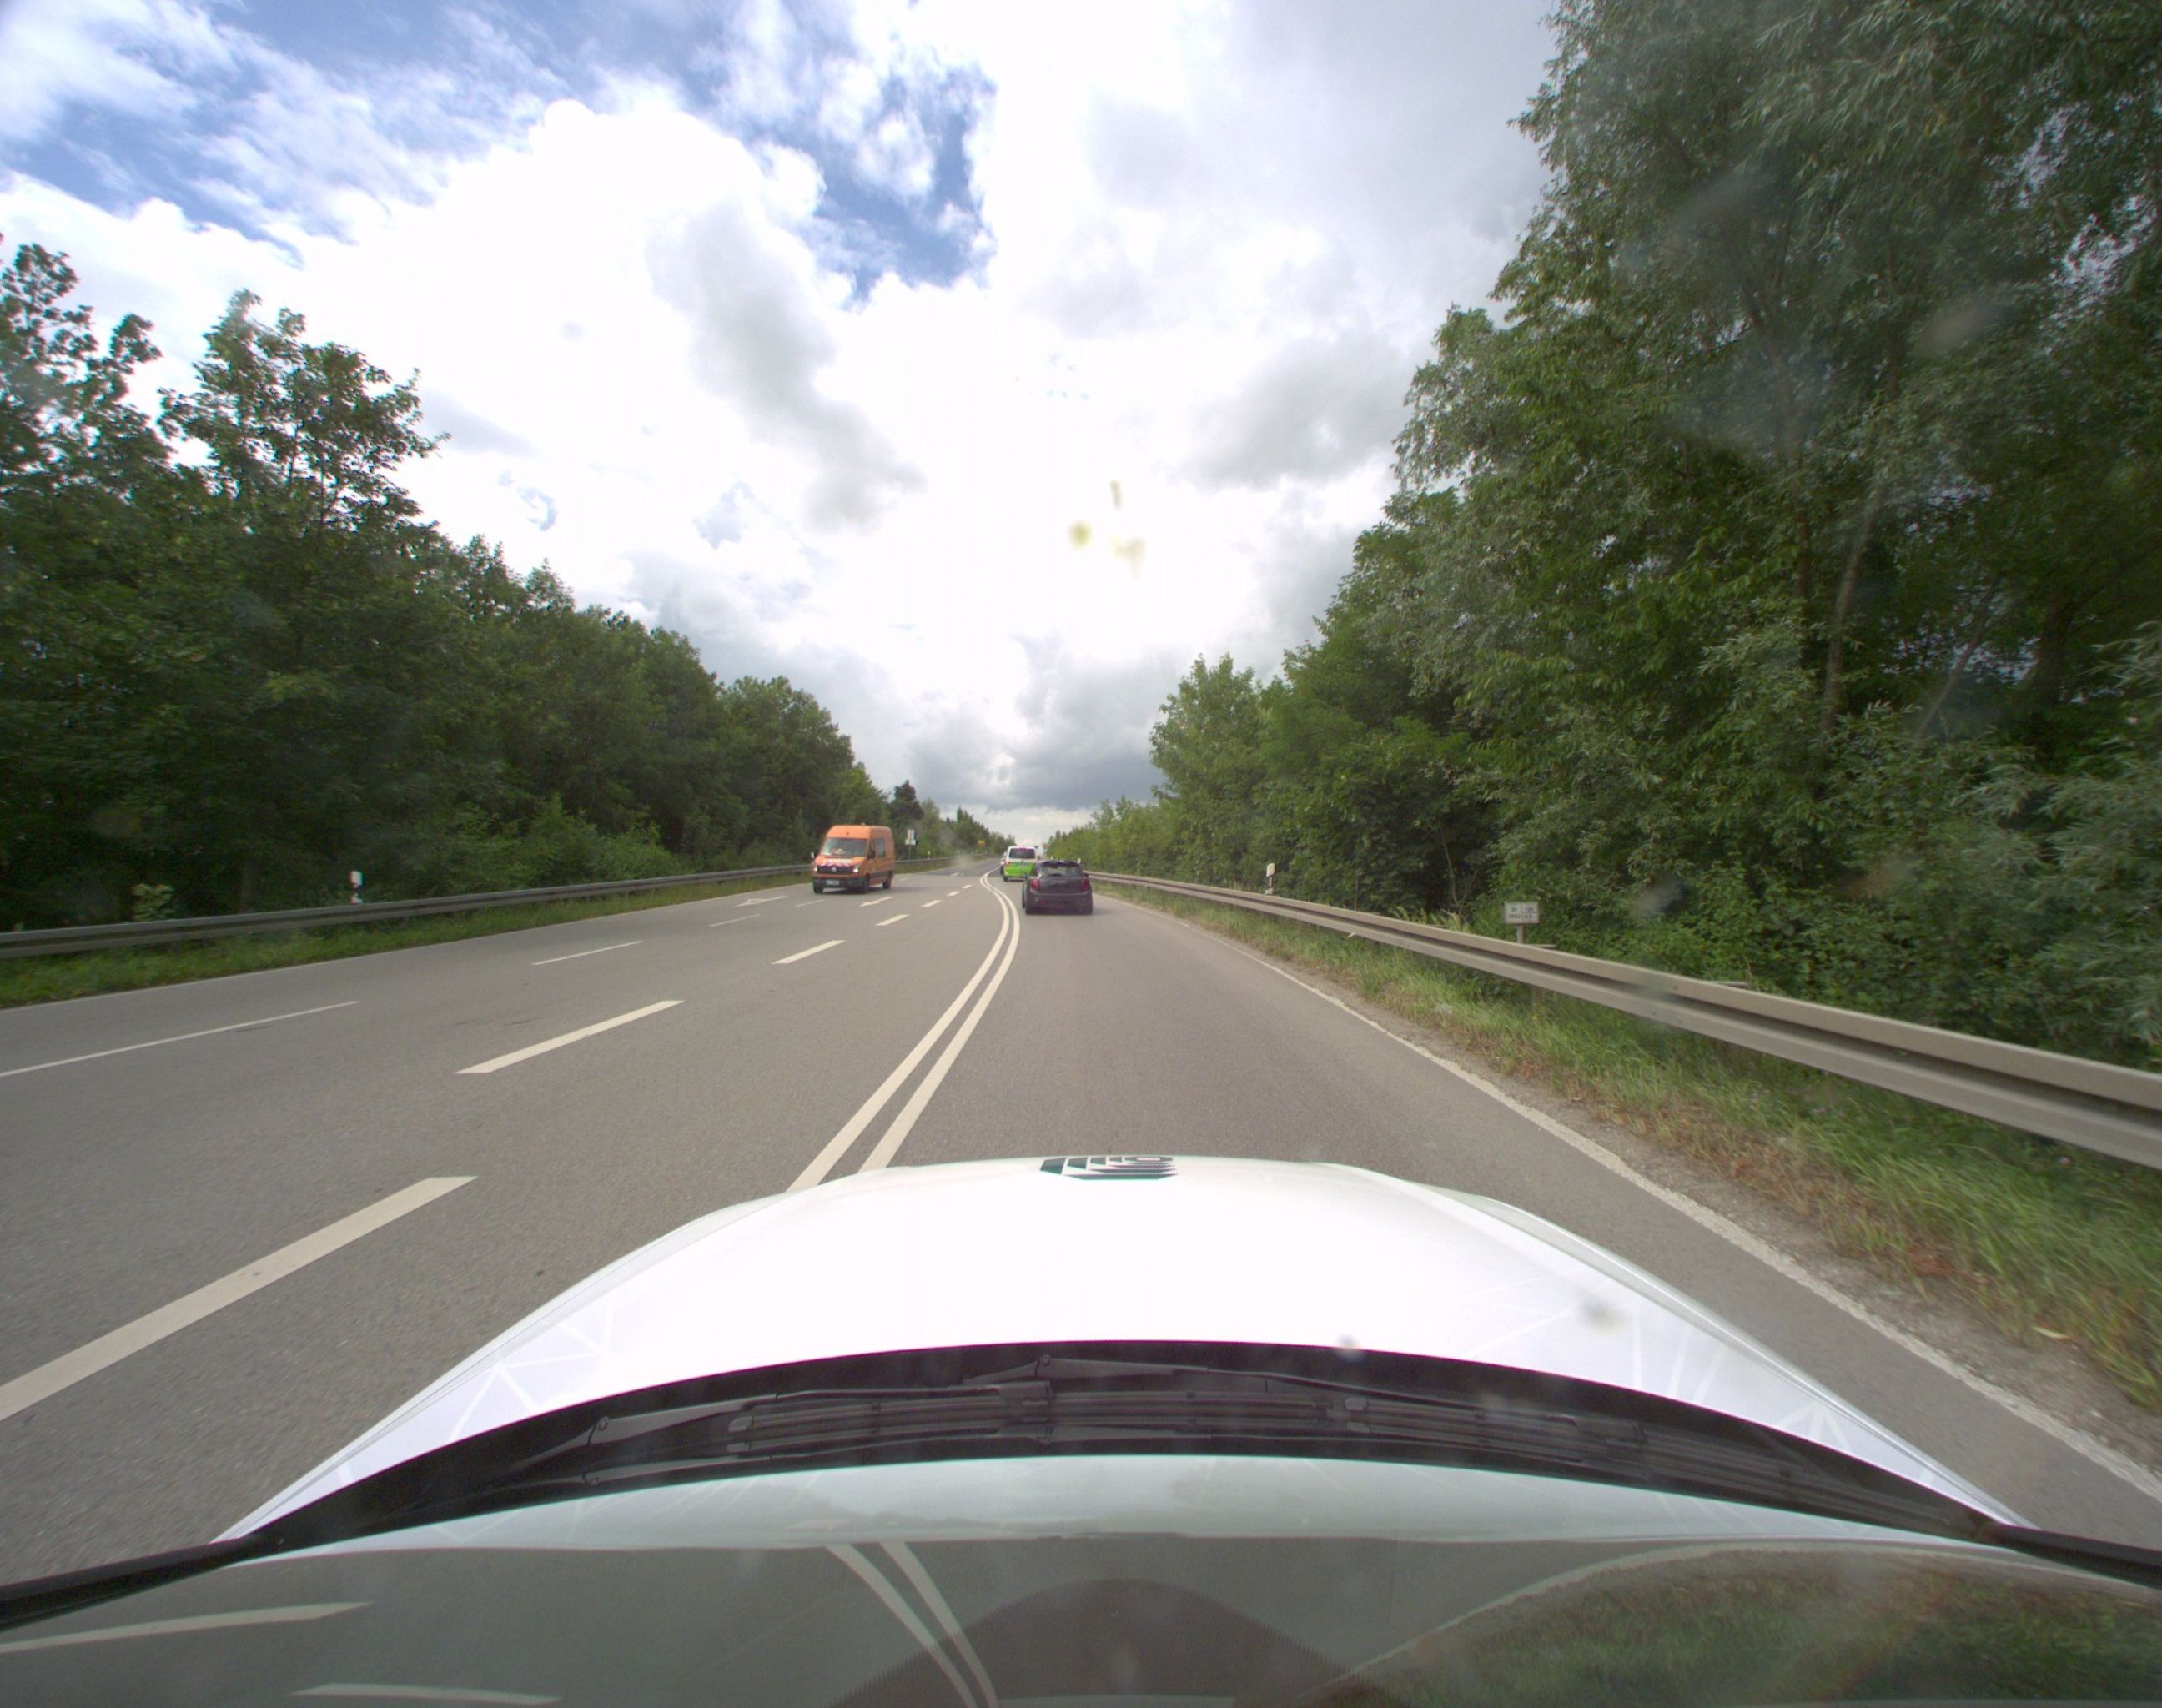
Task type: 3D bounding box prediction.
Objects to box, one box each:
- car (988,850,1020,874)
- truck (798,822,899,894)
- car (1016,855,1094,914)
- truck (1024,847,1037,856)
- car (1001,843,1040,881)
[{"bbox_3d":[-5.451,0.542,58.040,1.983,1.618,4.150,0,0,-2],"label":"car"},{"bbox_3d":[-9.142,0.124,32.638,2.309,2.601,6.022,0,0,0],"label":"truck"},{"bbox_3d":[-0.796,0.774,22.487,1.731,1.456,3.989,1,0,-8],"label":"car"},{"bbox_3d":[-13.279,-0.674,215.436,2.901,2.372,10.448,0,0,0],"label":"truck"},{"bbox_3d":[-3.439,0.444,45.694,2.020,2.013,3.991,-1,0,-7],"label":"car"}]
